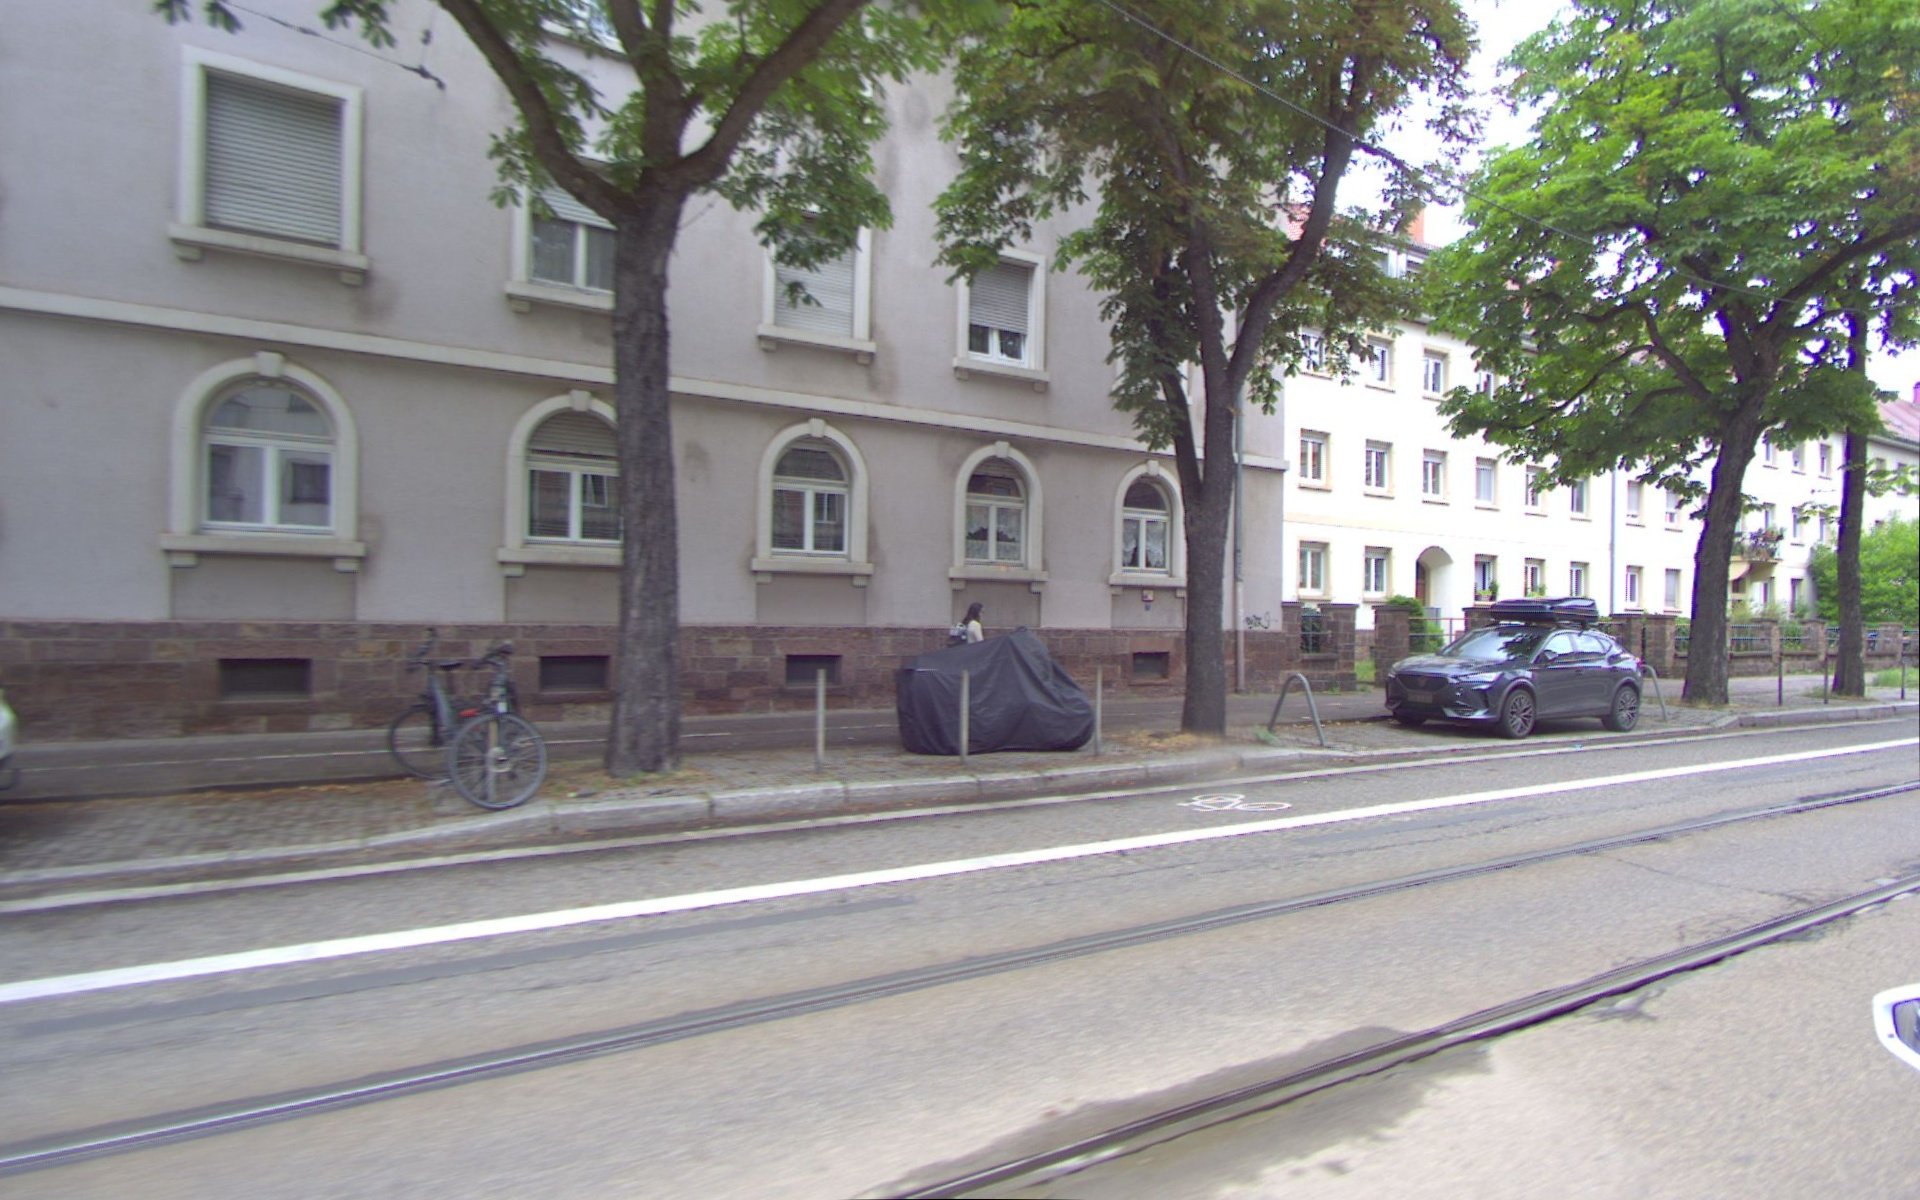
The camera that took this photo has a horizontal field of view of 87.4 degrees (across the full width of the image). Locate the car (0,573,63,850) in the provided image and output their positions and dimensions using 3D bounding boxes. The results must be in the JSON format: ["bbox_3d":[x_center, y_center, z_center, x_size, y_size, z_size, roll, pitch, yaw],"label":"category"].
[{"bbox_3d":[-7.800,0.638,5.359,4.178,1.677,1.887,1,0,-32],"label":"car"}]

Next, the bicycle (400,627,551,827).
[{"bbox_3d":[-3.619,0.877,7.647,0.642,1.208,1.743,-4,3,-15],"label":"bicycle"}]

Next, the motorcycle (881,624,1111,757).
[{"bbox_3d":[0.373,0.931,10.714,2.285,1.305,0.863,1,0,-17],"label":"motorcycle"}]

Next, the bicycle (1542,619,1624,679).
[{"bbox_3d":[15.036,1.165,24.215,2.116,1.400,0.789,1,-1,-31],"label":"bicycle"}]

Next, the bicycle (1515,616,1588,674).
[{"bbox_3d":[14.706,1.099,24.946,2.116,1.400,0.624,1,-1,-31],"label":"bicycle"}]

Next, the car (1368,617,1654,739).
[{"bbox_3d":[8.160,1.061,14.804,4.187,1.531,1.769,1,0,-30],"label":"car"}]

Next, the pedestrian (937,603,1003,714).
[{"bbox_3d":[0.132,0.797,13.872,0.714,1.487,0.562,1,-1,-30],"label":"pedestrian"}]
